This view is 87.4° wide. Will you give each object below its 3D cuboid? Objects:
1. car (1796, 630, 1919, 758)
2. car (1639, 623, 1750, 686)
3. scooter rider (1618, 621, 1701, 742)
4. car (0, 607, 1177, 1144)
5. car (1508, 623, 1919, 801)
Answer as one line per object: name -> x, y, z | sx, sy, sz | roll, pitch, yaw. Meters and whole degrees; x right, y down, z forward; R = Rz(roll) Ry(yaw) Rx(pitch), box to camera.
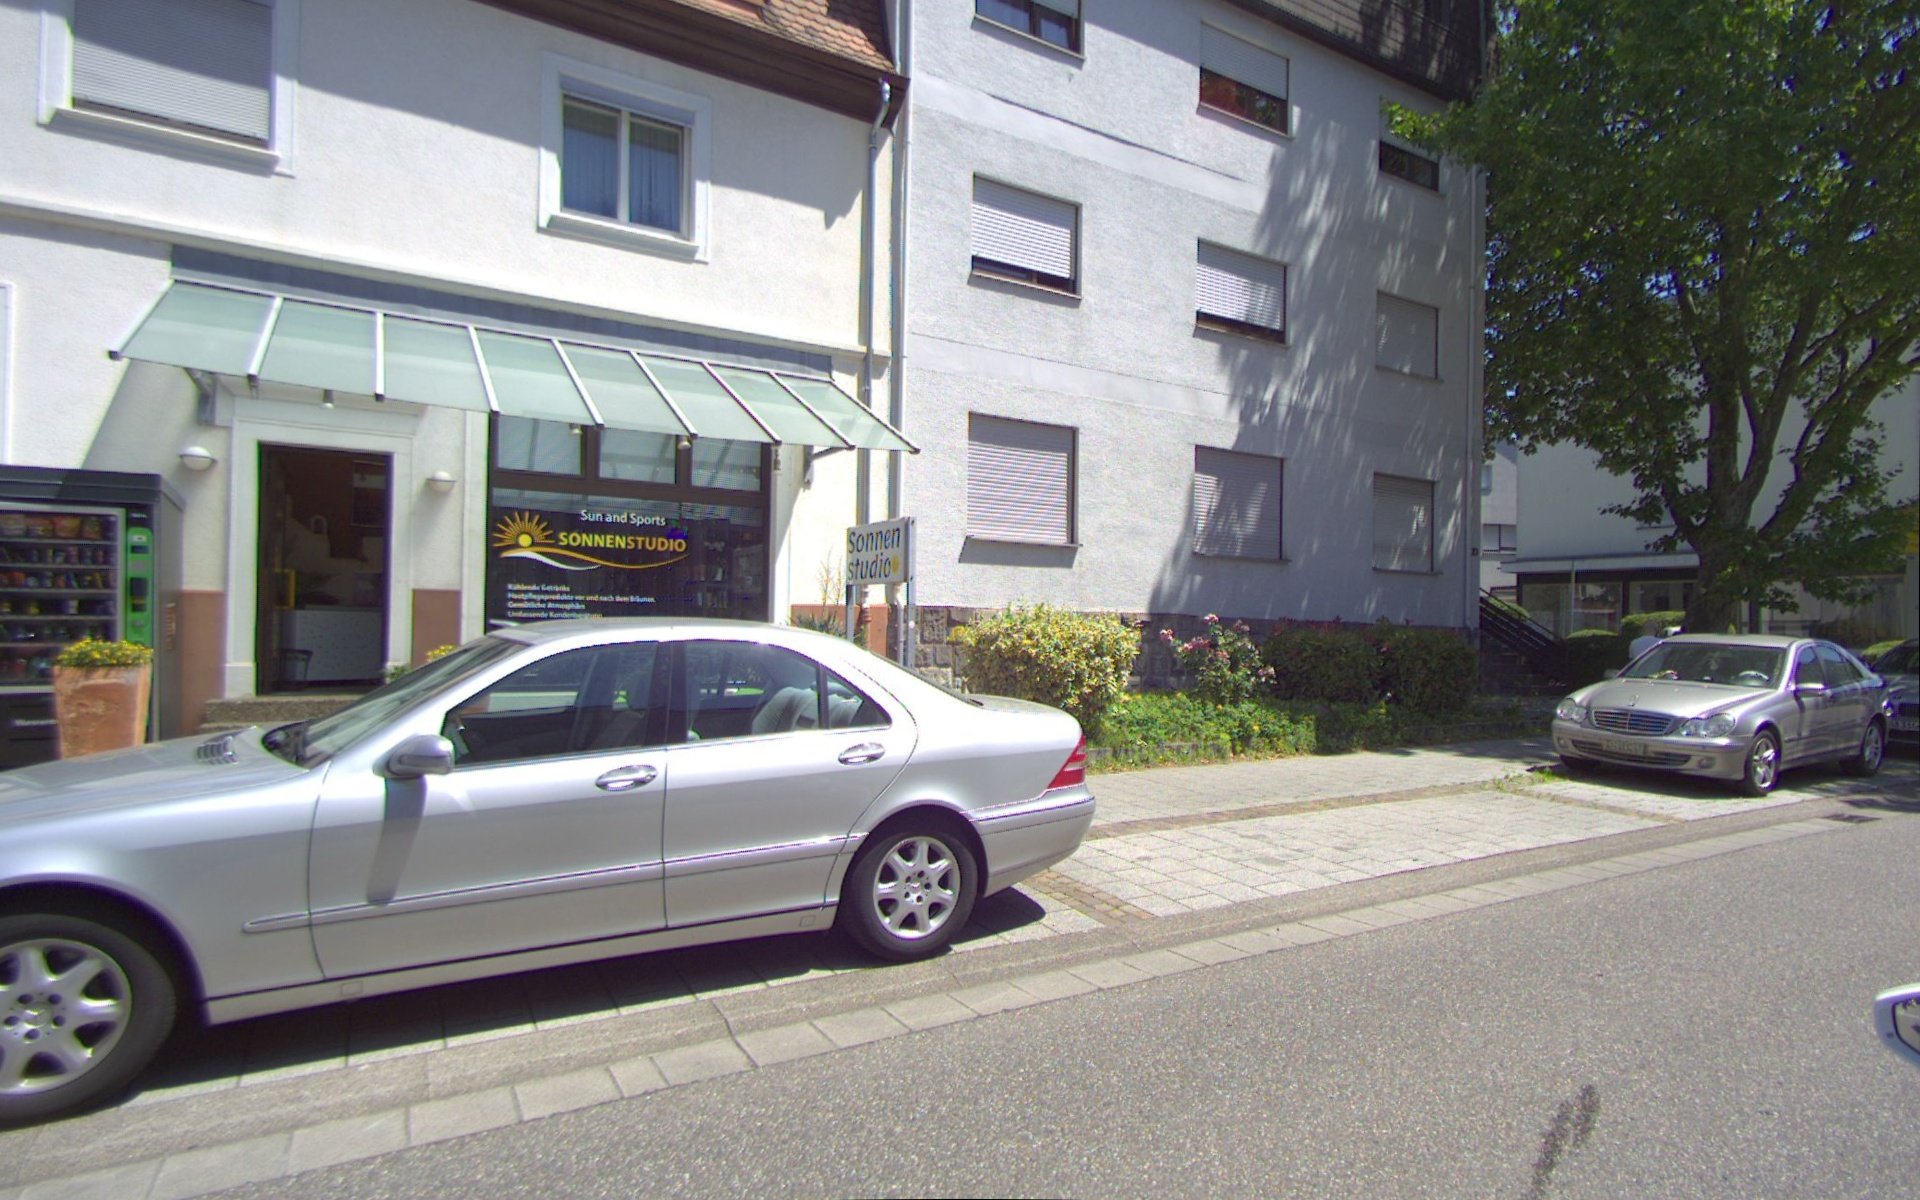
car -> 13.326, 1.169, 13.290 | 5.092, 1.471, 1.970 | 1, 0, -32
car -> 19.170, 1.383, 26.373 | 1.863, 1.506, 3.989 | 0, -2, 29
scooter rider -> 9.646, 1.094, 13.859 | 0.867, 1.596, 0.586 | 1, 1, -29
car -> -1.700, 0.810, 4.500 | 5.294, 1.471, 1.972 | 1, 0, -30
car -> 8.135, 1.016, 10.639 | 4.813, 1.471, 1.970 | 1, 0, -32
